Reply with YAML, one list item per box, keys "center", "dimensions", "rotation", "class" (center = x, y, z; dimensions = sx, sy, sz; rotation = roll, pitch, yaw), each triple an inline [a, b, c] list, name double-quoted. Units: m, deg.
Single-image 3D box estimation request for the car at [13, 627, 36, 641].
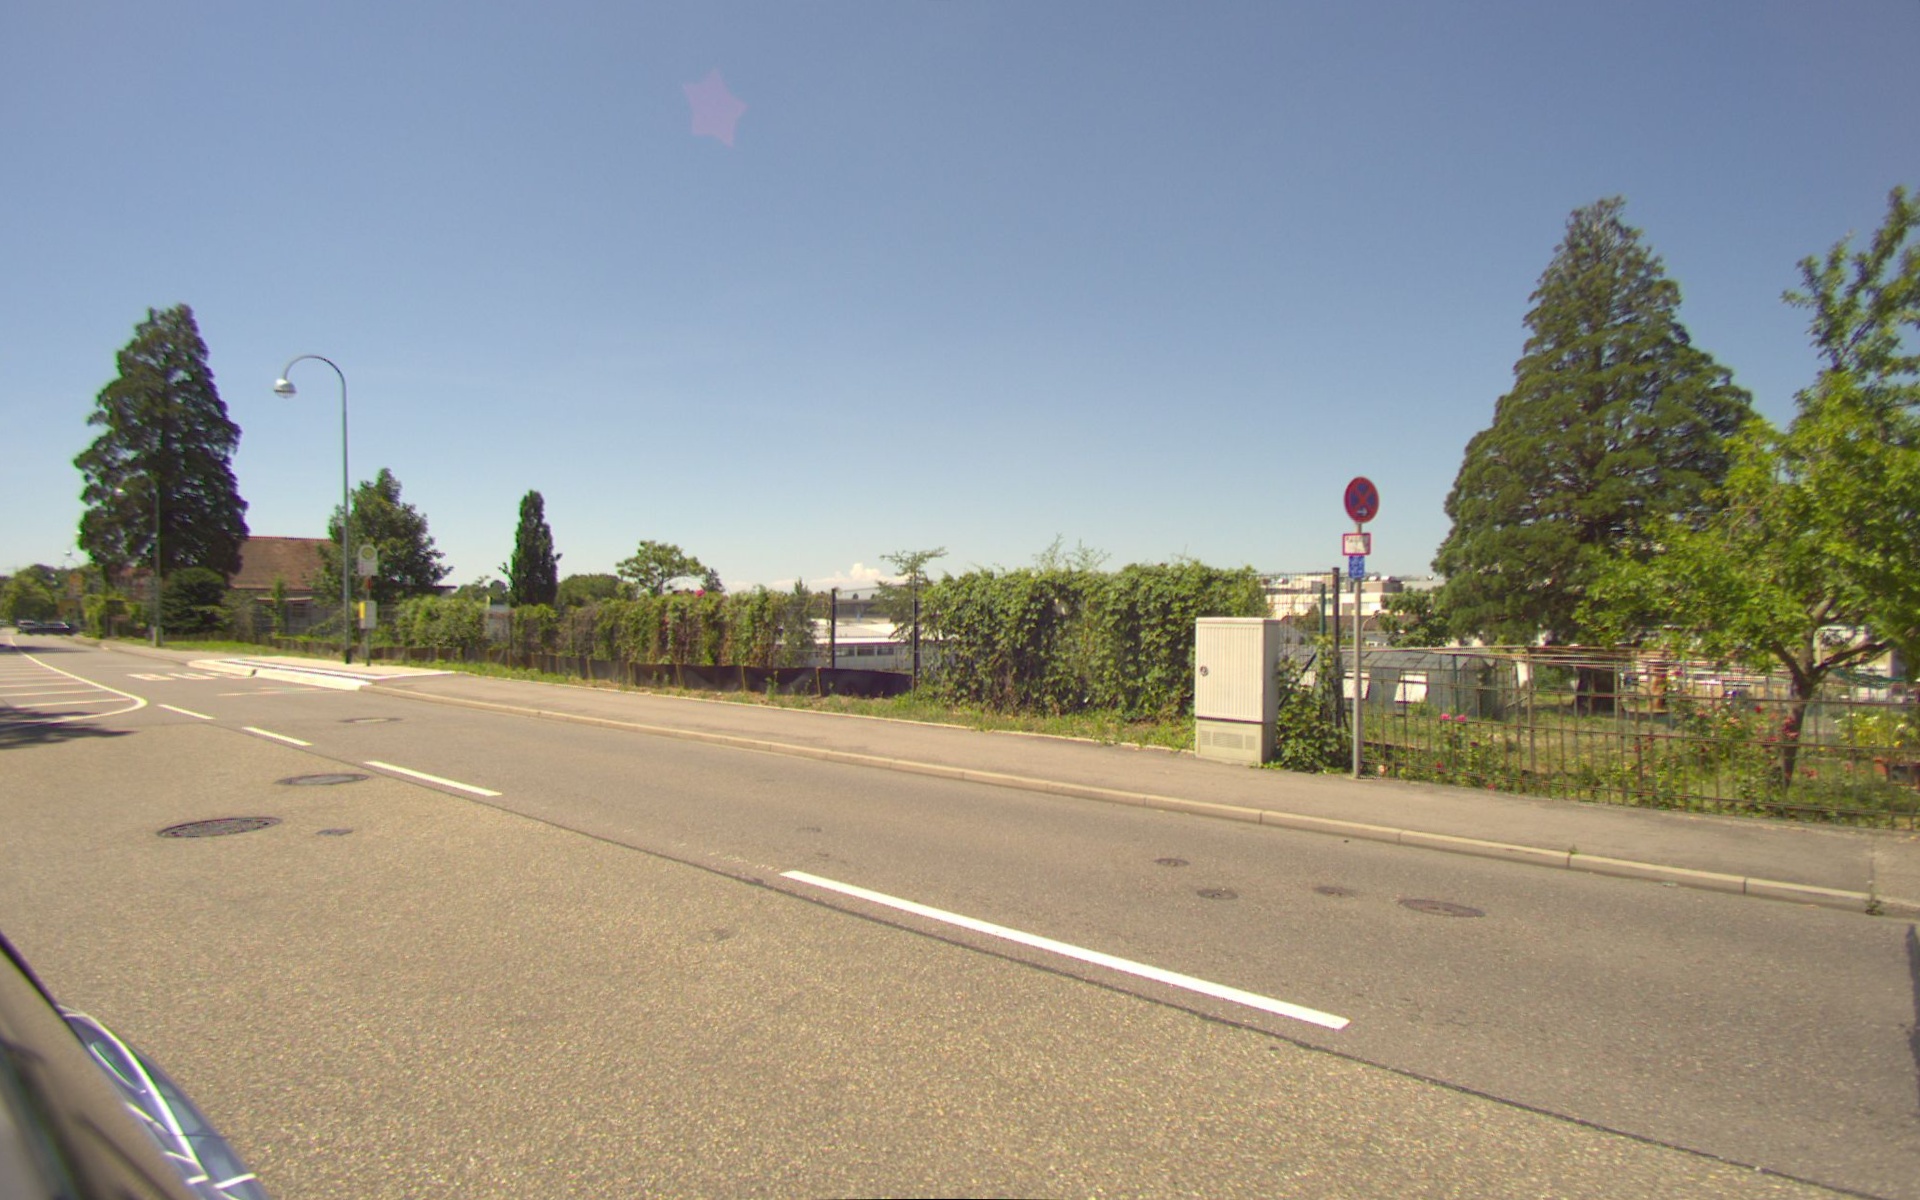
- center: [-114.361, 4.188, 123.681]
  dimensions: [4.691, 1.657, 1.763]
  rotation: [-2, -4, 45]
  class: "car"
